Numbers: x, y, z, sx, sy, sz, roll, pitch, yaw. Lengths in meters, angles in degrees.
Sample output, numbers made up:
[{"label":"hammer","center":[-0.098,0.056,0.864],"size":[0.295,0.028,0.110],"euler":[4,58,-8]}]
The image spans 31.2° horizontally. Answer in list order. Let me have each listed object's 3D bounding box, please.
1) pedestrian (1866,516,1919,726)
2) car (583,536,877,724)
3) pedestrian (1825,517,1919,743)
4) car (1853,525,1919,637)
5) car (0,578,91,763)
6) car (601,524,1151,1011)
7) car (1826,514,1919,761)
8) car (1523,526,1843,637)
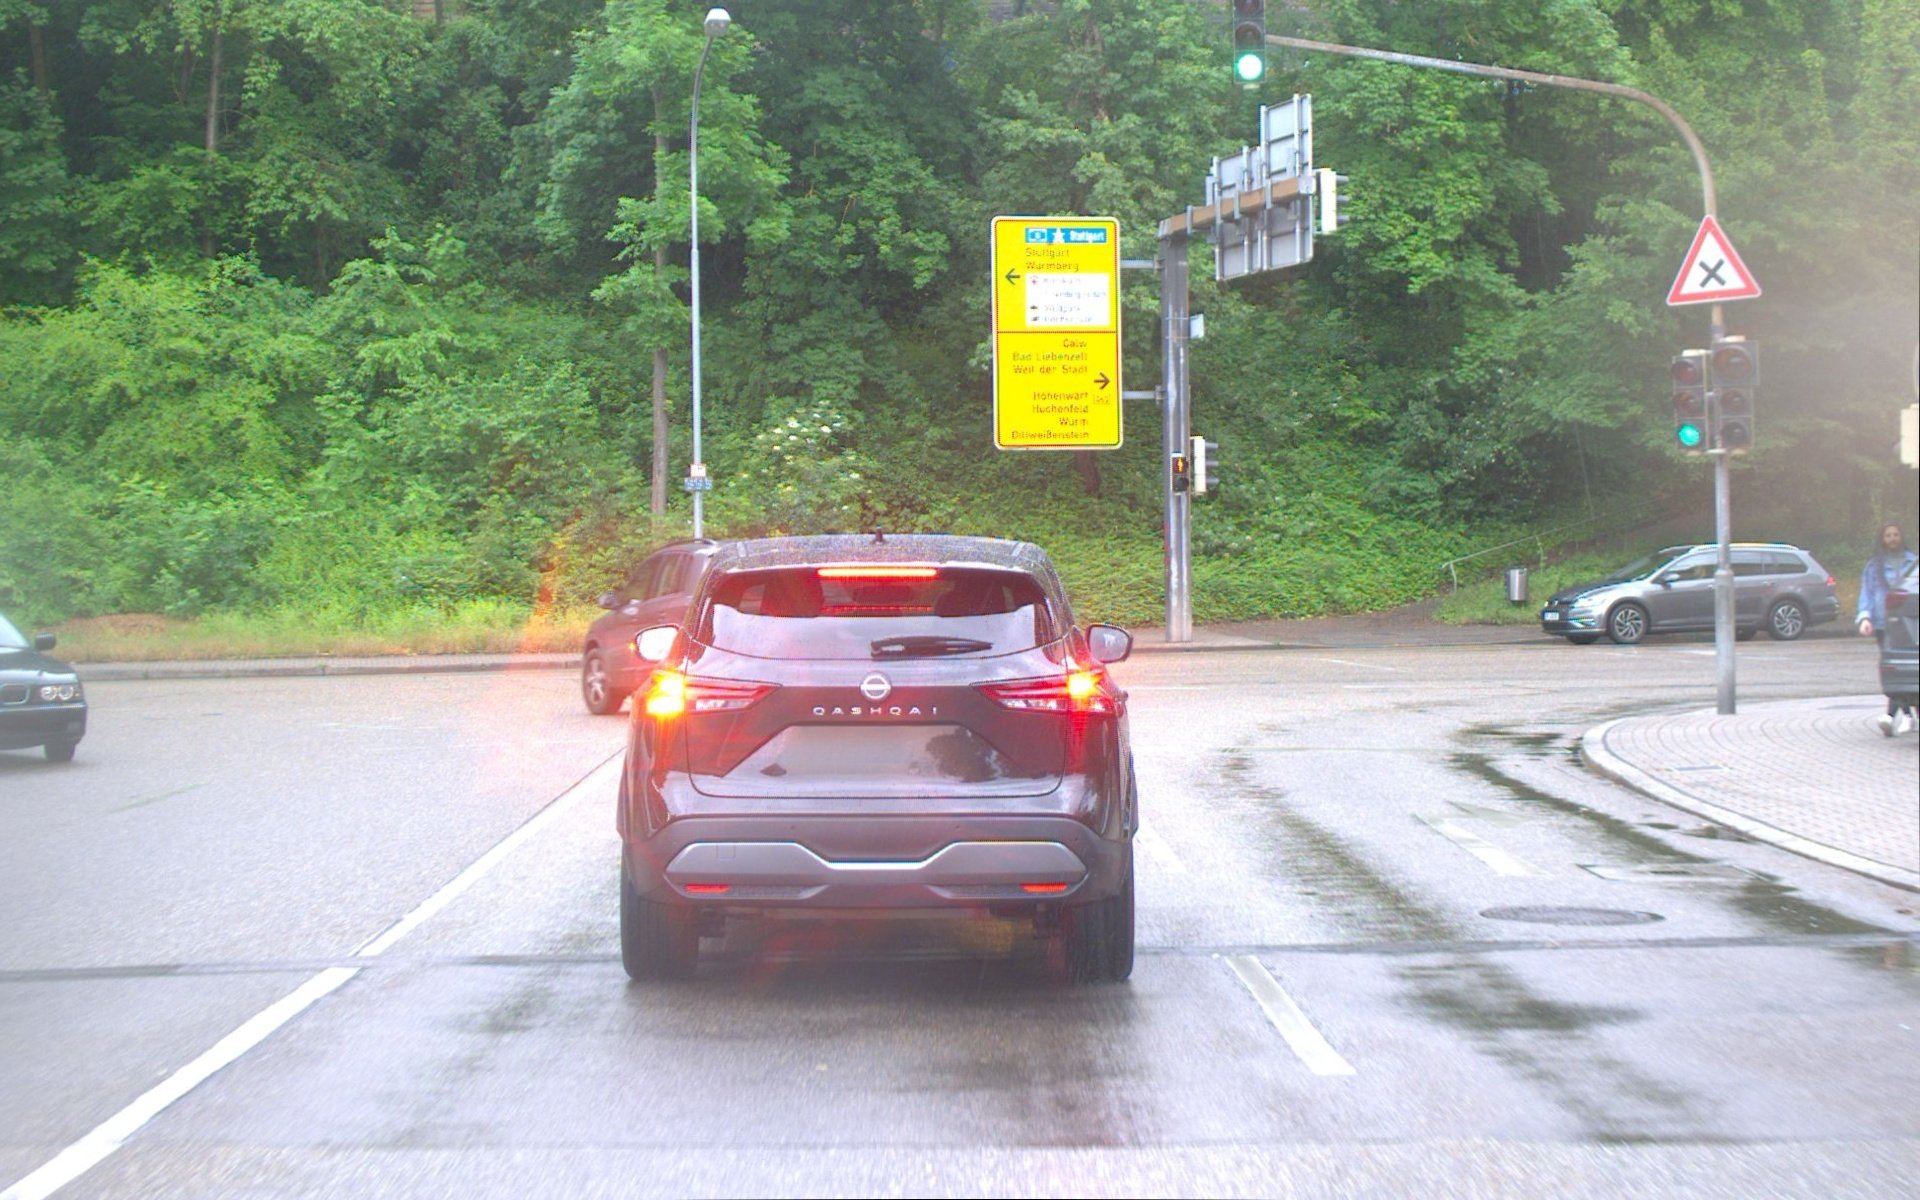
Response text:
[{"label":"pedestrian","center":[7.486,0.147,26.253],"size":[0.763,1.569,0.779],"euler":[-1,2,44]},{"label":"car","center":[-2.247,0.235,32.550],"size":[1.810,1.597,4.002],"euler":[0,2,-18]},{"label":"pedestrian","center":[6.773,0.205,25.028],"size":[0.657,1.595,0.796],"euler":[-3,1,-3]},{"label":"car","center":[15.171,-0.306,49.456],"size":[4.141,1.556,1.810],"euler":[-1,1,-15]},{"label":"car","center":[-8.557,0.575,29.386],"size":[1.728,1.454,4.429],"euler":[-2,1,-20]},{"label":"car","center":[-0.310,0.534,13.389],"size":[1.811,1.597,4.000],"euler":[0,1,-1]},{"label":"car","center":[8.362,0.168,23.804],"size":[4.366,1.643,1.884],"euler":[-2,1,-26]},{"label":"car","center":[10.959,-0.294,52.206],"size":[4.323,1.497,1.884],"euler":[-2,1,-12]}]
